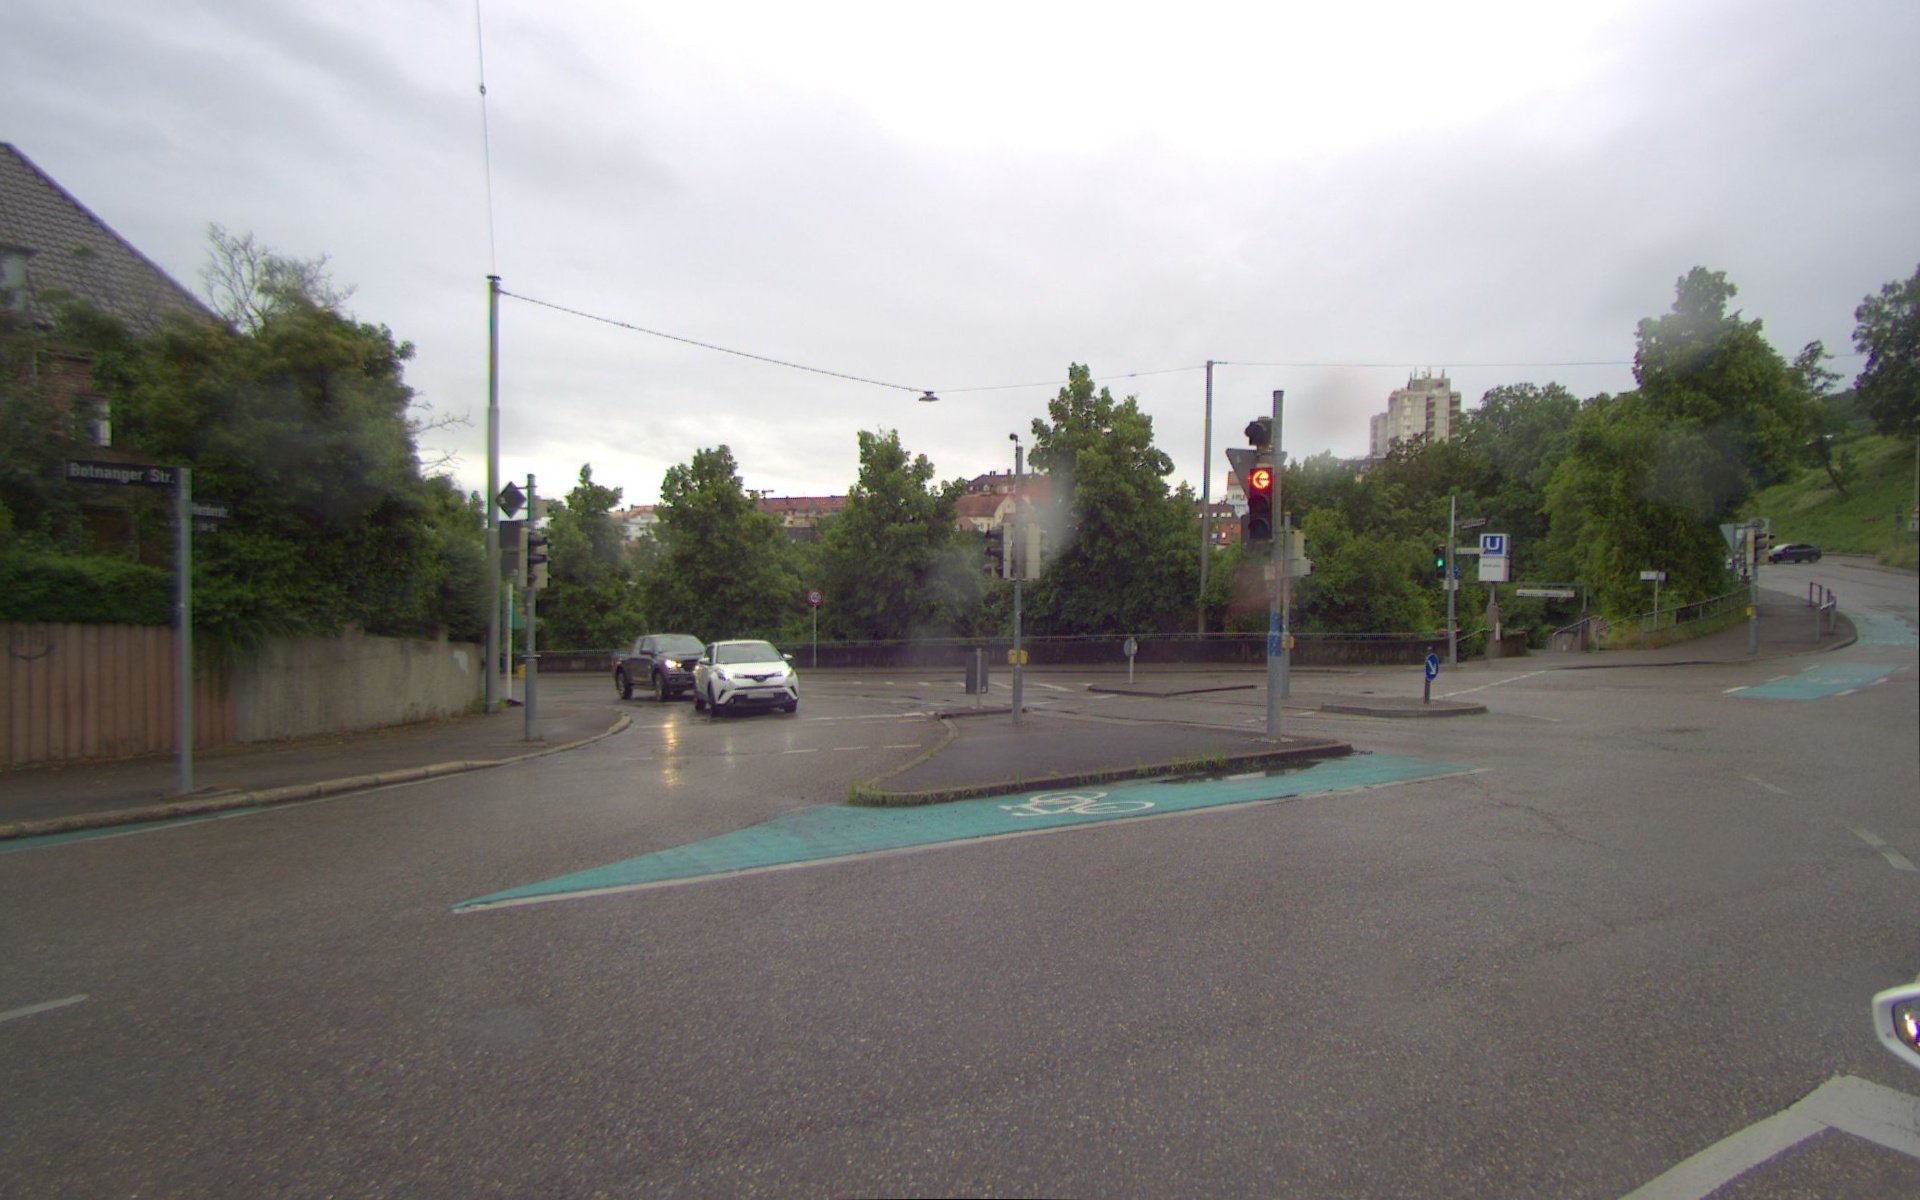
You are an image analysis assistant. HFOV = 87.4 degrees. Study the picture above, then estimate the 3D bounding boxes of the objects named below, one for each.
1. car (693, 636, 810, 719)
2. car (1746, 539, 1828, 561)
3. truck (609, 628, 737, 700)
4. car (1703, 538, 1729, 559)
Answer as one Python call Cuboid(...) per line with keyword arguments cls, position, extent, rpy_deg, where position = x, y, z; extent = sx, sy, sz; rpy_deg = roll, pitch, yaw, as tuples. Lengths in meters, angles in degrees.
Cuboid(cls="car", position=(-4.579, 1.631, 21.631), extent=(1.810, 1.527, 3.866), rpy_deg=(-2, -2, -21))
Cuboid(cls="car", position=(62.425, -3.761, 75.878), extent=(4.315, 1.532, 1.963), rpy_deg=(0, 2, 15))
Cuboid(cls="truck", position=(-8.327, 1.838, 28.781), extent=(1.890, 1.809, 4.940), rpy_deg=(-2, -3, -36))
Cuboid(cls="car", position=(80.323, -5.472, 106.686), extent=(2.041, 2.033, 4.793), rpy_deg=(1, 1, 39))
